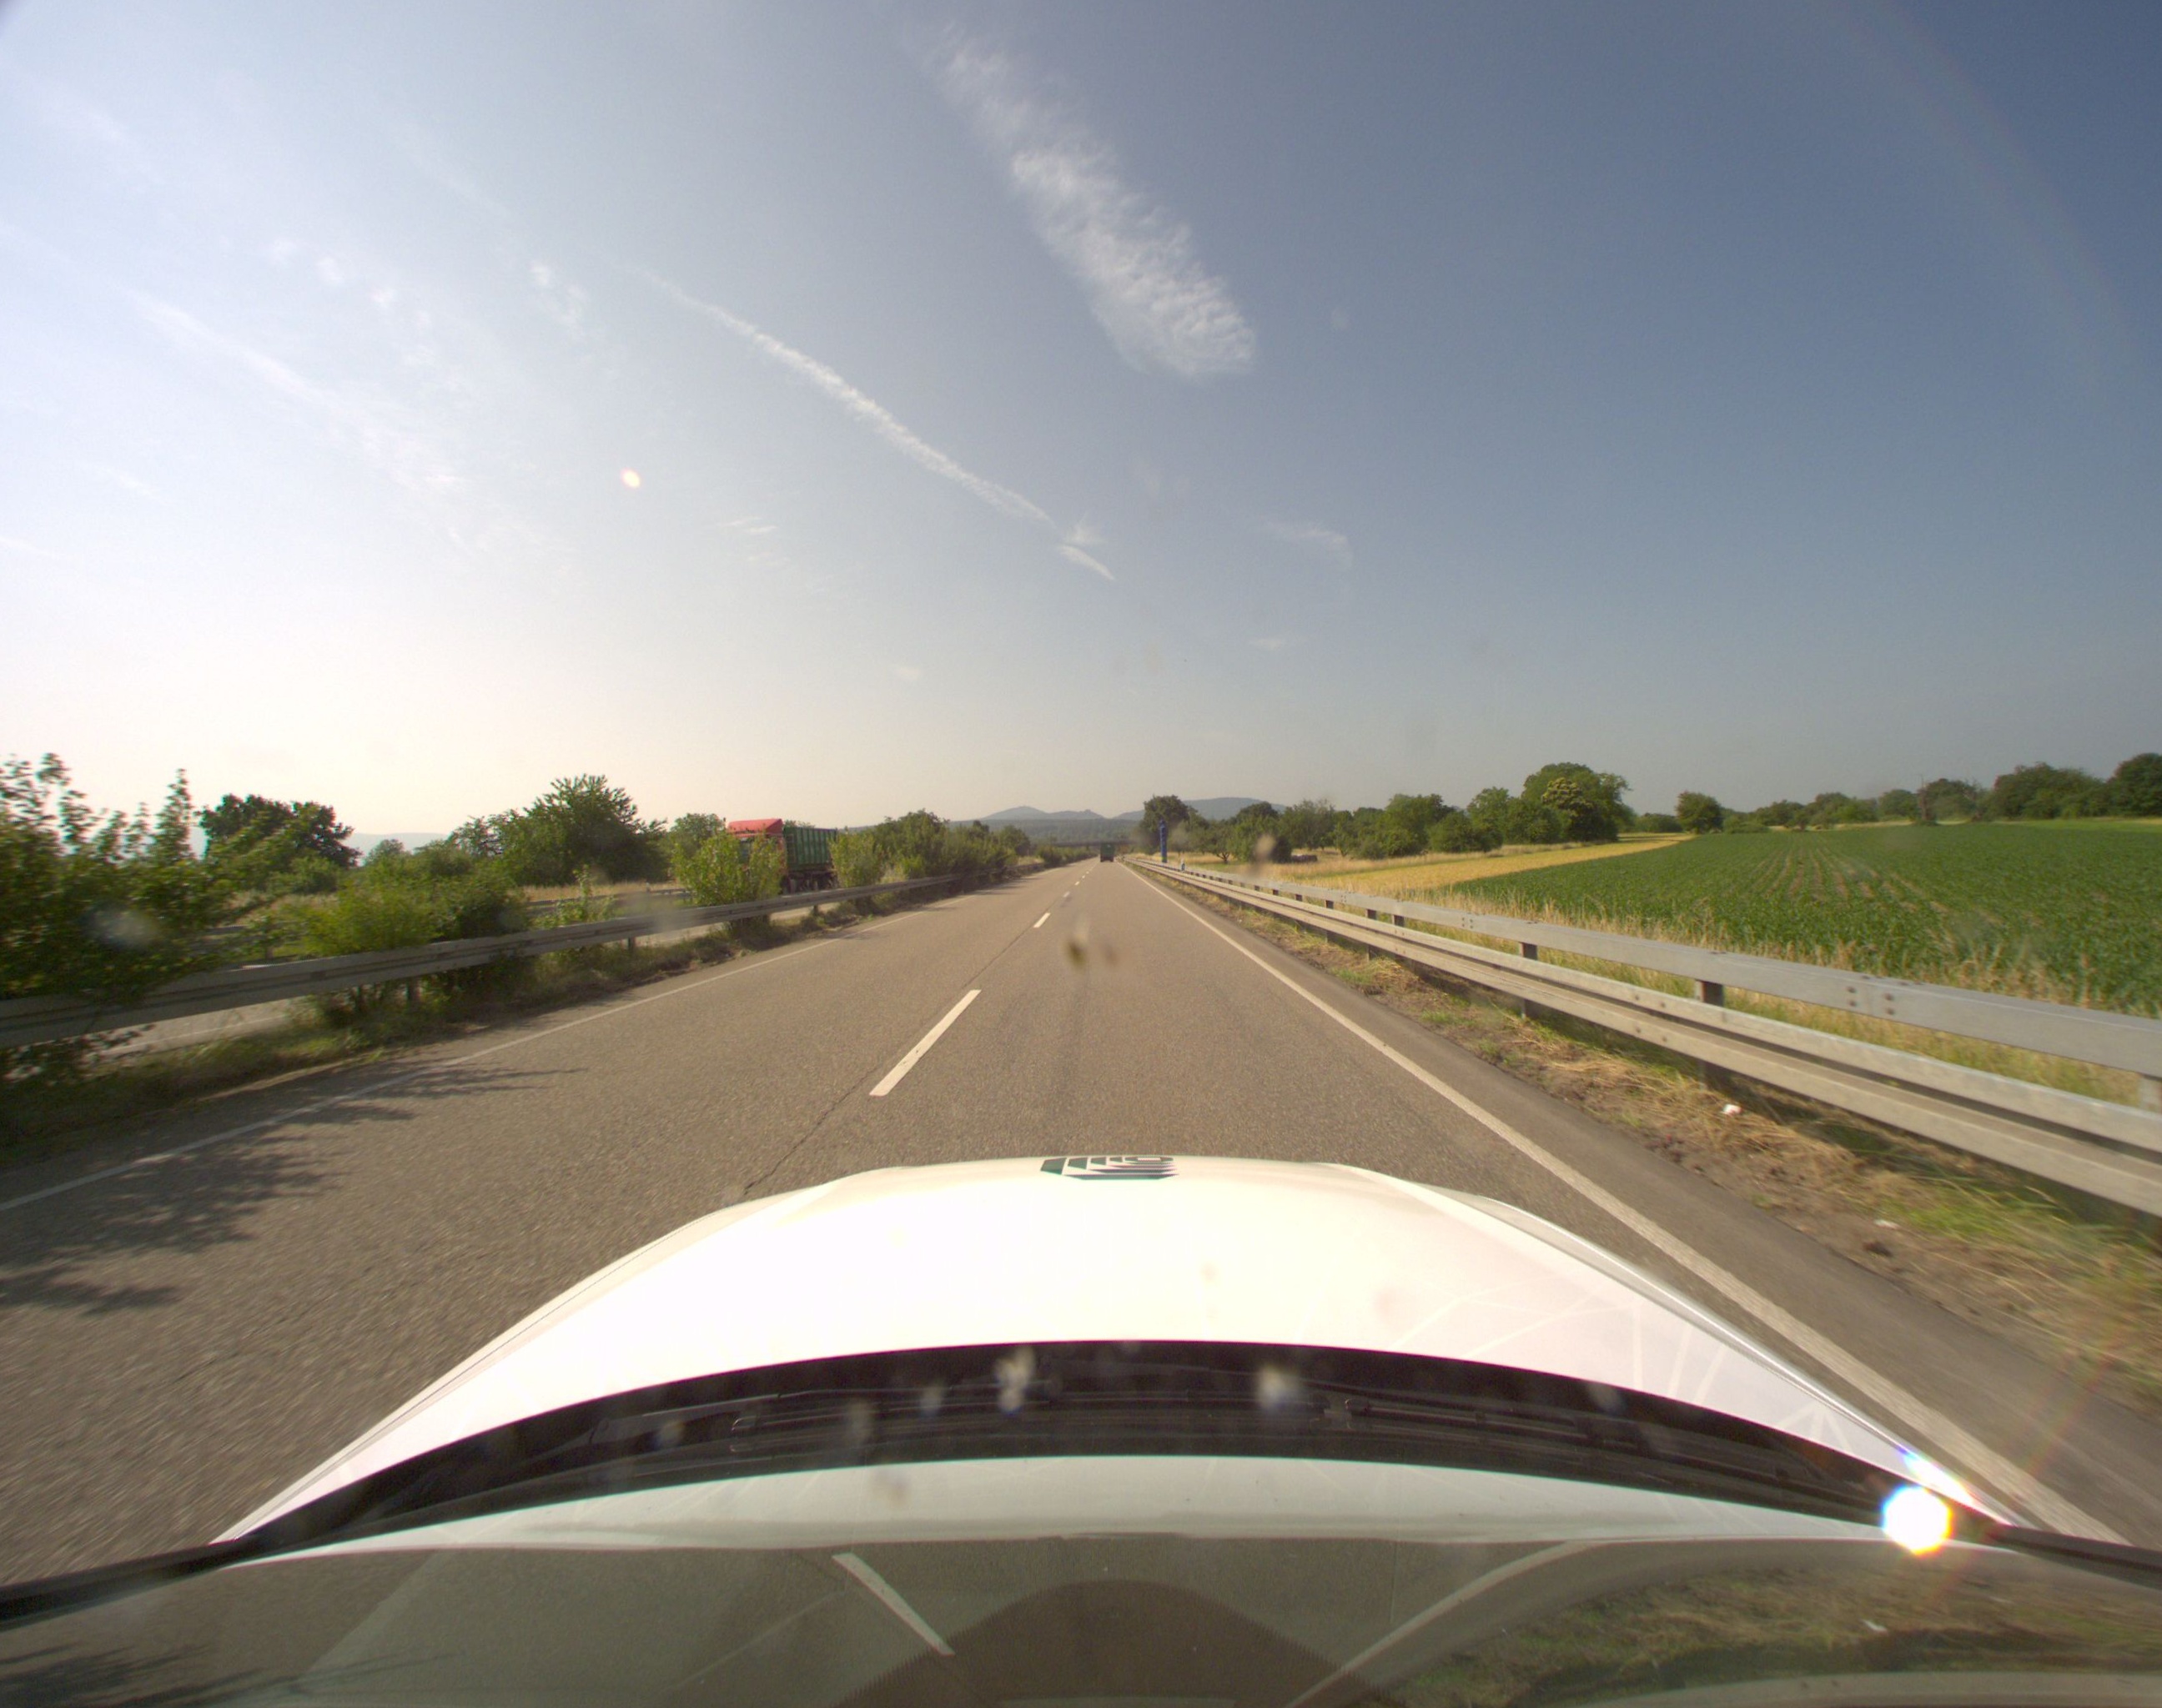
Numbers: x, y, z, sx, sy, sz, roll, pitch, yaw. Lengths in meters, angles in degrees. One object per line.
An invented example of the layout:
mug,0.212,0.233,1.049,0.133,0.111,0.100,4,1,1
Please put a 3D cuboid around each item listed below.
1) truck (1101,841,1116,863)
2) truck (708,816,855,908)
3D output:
truck,5.139,-0.385,153.212,2.711,3.965,10.422,0,1,2
truck,-13.423,0.355,37.730,2.593,3.588,10.389,-2,0,2
